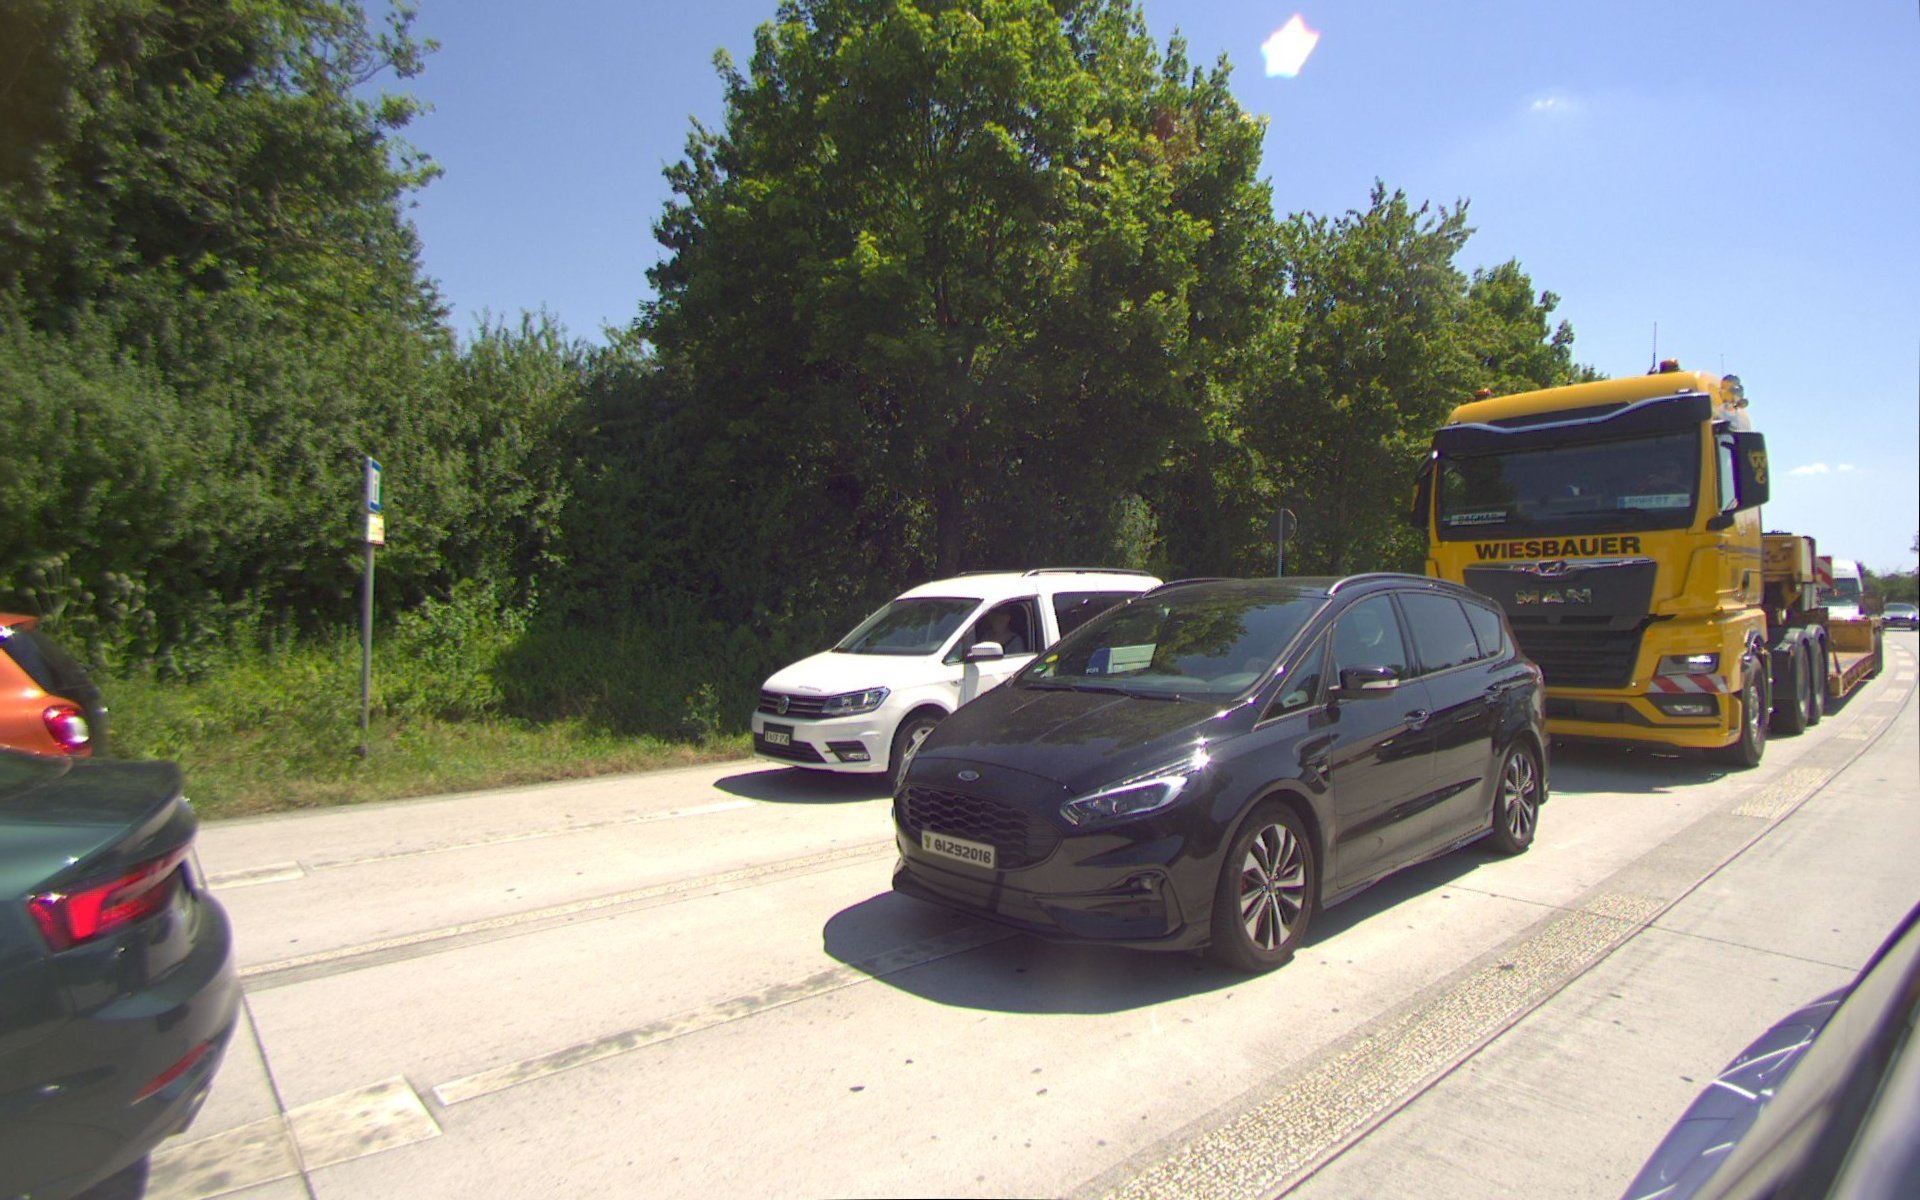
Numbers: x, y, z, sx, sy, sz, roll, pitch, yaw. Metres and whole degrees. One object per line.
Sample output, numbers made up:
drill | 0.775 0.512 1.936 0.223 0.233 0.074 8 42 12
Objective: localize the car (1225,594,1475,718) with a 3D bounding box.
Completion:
car | 5.733 0.677 14.583 4.293 1.480 1.768 -1 1 -45

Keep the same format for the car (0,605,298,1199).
car | -3.721 0.763 1.380 4.530 1.428 1.770 -1 1 -41

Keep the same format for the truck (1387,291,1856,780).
truck | 7.919 -0.544 11.590 7.348 3.820 3.015 -1 0 -45

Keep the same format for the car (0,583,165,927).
car | -5.752 0.704 4.296 3.591 1.528 1.769 -1 1 -44

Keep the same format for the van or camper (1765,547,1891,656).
van or camper | 23.200 -0.007 26.950 5.812 2.606 2.064 -1 0 -45

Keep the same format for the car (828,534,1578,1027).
car | 1.668 0.575 5.611 4.568 1.660 1.786 -1 1 -42

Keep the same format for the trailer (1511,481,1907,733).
trailer | 13.724 0.046 17.339 16.089 2.626 3.029 0 0 -45

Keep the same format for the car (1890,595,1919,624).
car | 50.075 0.472 53.003 1.886 1.483 3.936 0 1 44

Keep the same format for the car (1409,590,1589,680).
car | 10.186 0.562 18.972 1.768 1.480 4.524 0 0 45

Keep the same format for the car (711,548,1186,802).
car | 0.152 0.510 9.652 1.767 1.830 4.718 0 1 43
